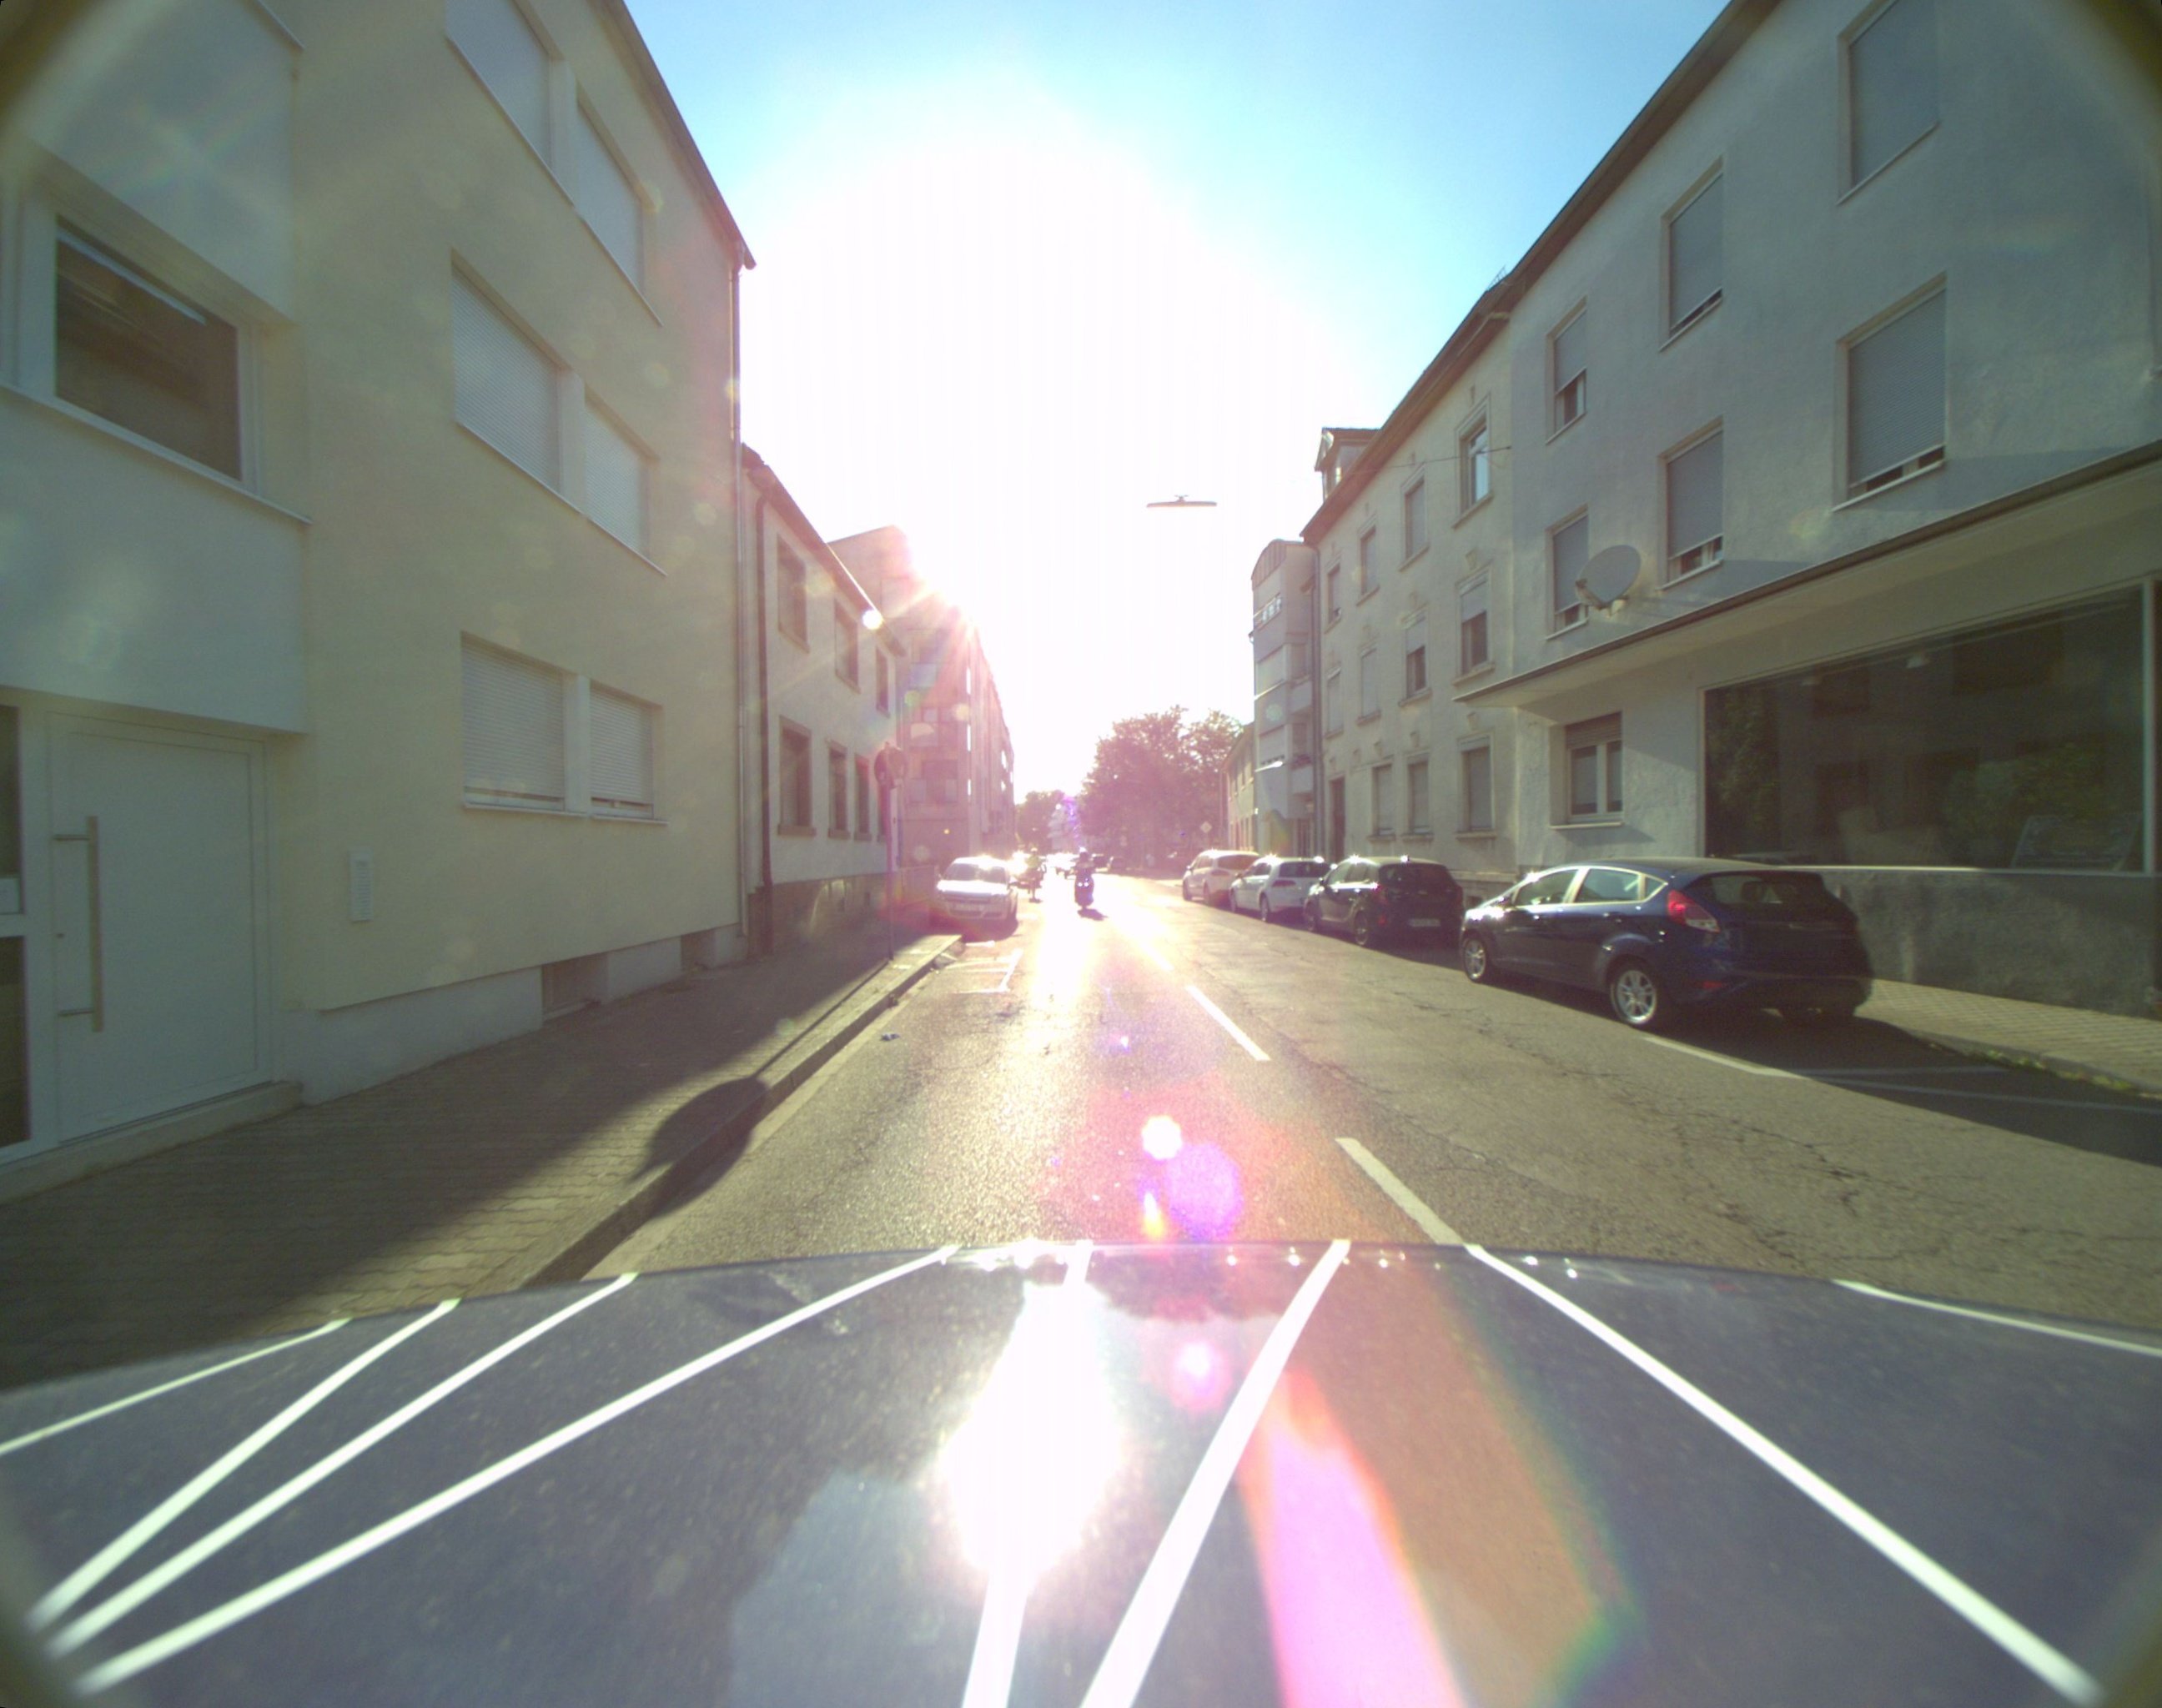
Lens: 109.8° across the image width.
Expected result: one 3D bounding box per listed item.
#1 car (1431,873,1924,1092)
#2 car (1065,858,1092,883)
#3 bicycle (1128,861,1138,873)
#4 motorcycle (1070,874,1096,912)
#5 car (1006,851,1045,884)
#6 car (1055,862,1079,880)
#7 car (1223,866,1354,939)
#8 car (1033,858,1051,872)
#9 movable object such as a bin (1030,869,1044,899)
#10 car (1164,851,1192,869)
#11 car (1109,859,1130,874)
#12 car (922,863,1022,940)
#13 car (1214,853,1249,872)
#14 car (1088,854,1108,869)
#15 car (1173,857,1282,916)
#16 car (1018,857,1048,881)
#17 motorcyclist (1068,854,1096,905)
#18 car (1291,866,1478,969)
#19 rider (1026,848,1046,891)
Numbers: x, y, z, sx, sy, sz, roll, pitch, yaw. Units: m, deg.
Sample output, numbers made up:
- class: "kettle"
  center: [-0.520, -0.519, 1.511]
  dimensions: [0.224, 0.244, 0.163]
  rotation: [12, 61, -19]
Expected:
- class: "car"
  center: [5.377, 1.010, 7.655]
  dimensions: [1.735, 1.490, 3.957]
  rotation: [0, 1, -2]
- class: "car"
  center: [-0.238, 1.146, 54.072]
  dimensions: [1.708, 1.570, 3.914]
  rotation: [-1, 0, -3]
- class: "bicycle"
  center: [4.435, 1.111, 65.340]
  dimensions: [0.705, 0.997, 1.941]
  rotation: [-1, 0, 1]
- class: "motorcycle"
  center: [0.035, 1.083, 21.572]
  dimensions: [0.599, 1.004, 1.820]
  rotation: [0, 0, -5]
- class: "car"
  center: [-2.936, 0.705, 41.108]
  dimensions: [1.860, 1.626, 4.622]
  rotation: [2, 0, -2]
- class: "car"
  center: [-1.250, 1.480, 65.822]
  dimensions: [1.822, 1.458, 4.268]
  rotation: [0, 0, -5]
- class: "car"
  center: [4.867, 1.073, 18.434]
  dimensions: [1.770, 1.487, 4.125]
  rotation: [2, 0, -4]
- class: "car"
  center: [-4.160, 1.174, 80.629]
  dimensions: [1.822, 1.458, 4.268]
  rotation: [0, 0, -5]
- class: "movable object such as a bin"
  center: [-1.720, 1.131, 29.394]
  dimensions: [0.456, 1.027, 1.839]
  rotation: [-3, 2, -4]
- class: "car"
  center: [10.419, 0.665, 81.871]
  dimensions: [1.849, 1.884, 4.903]
  rotation: [-1, 0, -7]
- class: "car"
  center: [4.022, 1.302, 79.642]
  dimensions: [1.702, 1.483, 3.998]
  rotation: [0, 0, -5]
- class: "car"
  center: [-2.396, 0.994, 17.726]
  dimensions: [1.746, 1.483, 4.438]
  rotation: [1, 0, -1]
- class: "car"
  center: [16.359, 0.901, 82.724]
  dimensions: [2.025, 1.937, 4.318]
  rotation: [-1, 0, -15]
- class: "car"
  center: [2.189, 0.936, 98.415]
  dimensions: [1.937, 1.695, 5.098]
  rotation: [-3, 0, -5]
- class: "car"
  center: [4.476, 0.937, 24.137]
  dimensions: [1.999, 1.638, 5.219]
  rotation: [-1, 0, -5]
- class: "car"
  center: [-3.481, 1.052, 54.007]
  dimensions: [1.999, 1.643, 4.761]
  rotation: [0, -1, -5]
- class: "motorcyclist"
  center: [0.023, 0.720, 21.590]
  dimensions: [0.718, 1.424, 0.746]
  rotation: [0, 1, -5]
- class: "car"
  center: [5.201, 1.012, 13.608]
  dimensions: [1.665, 1.517, 3.808]
  rotation: [1, 0, -3]
- class: "rider"
  center: [-1.731, 0.580, 29.225]
  dimensions: [0.655, 1.553, 1.082]
  rotation: [-3, 2, -5]
